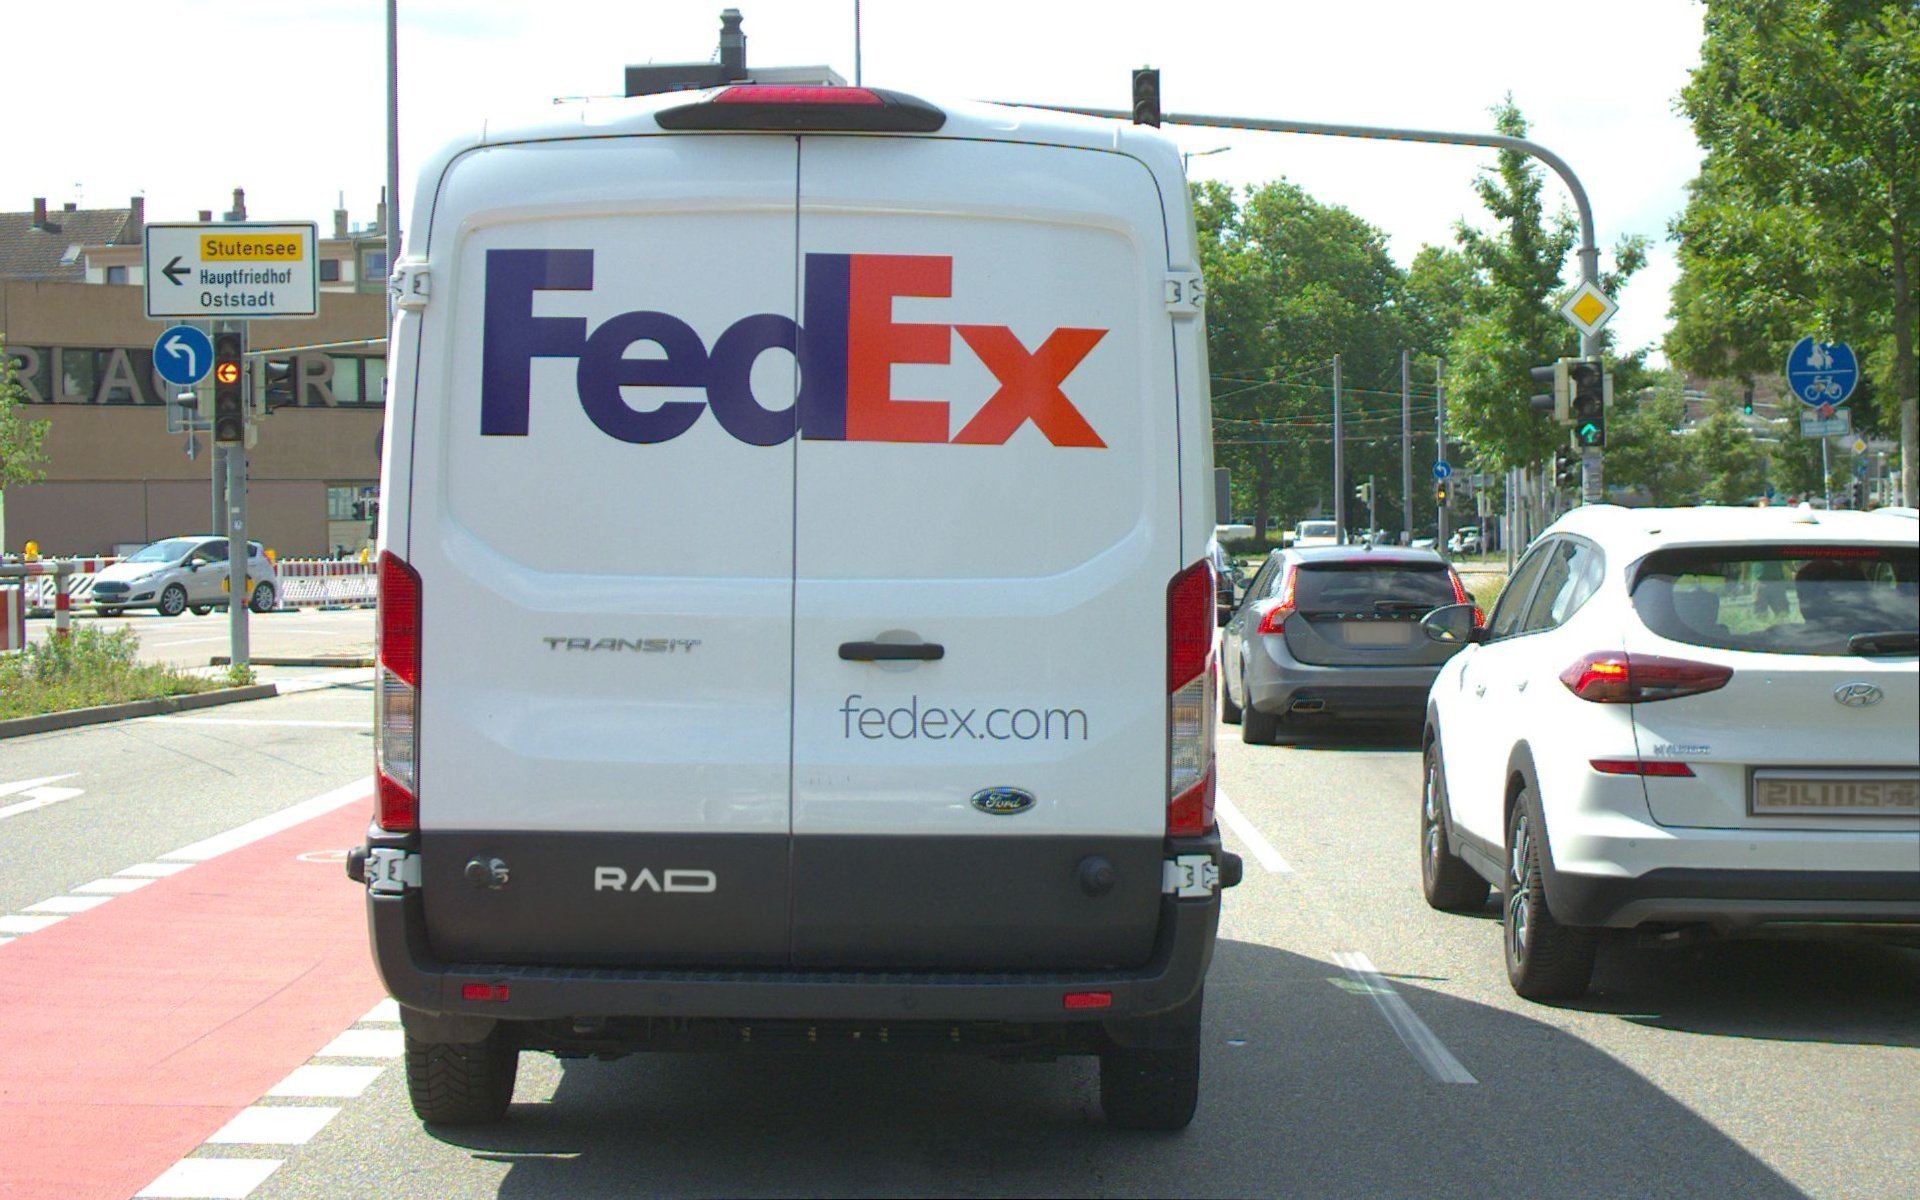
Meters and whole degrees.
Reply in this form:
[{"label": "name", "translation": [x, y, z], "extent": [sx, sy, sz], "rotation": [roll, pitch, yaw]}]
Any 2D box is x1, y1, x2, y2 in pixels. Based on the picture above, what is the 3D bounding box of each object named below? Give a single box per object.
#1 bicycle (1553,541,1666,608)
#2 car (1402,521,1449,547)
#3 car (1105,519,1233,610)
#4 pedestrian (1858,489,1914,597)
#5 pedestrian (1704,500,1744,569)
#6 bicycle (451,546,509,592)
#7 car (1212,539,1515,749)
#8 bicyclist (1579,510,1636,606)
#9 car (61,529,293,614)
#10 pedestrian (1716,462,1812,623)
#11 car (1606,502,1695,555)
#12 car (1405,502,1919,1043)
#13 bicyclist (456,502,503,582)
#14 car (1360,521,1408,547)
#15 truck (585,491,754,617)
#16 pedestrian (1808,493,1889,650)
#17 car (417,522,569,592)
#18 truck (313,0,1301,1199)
[{"label": "bicycle", "translation": [11.106, -0.426, 58.823], "extent": [1.810, 1.046, 0.591], "rotation": [-3, 0, 7]}, {"label": "car", "translation": [29.101, -4.117, 214.820], "extent": [1.996, 1.568, 4.173], "rotation": [1, 1, 21]}, {"label": "car", "translation": [3.646, -0.639, 59.404], "extent": [1.882, 1.501, 4.154], "rotation": [1, 2, 8]}, {"label": "pedestrian", "translation": [15.162, -0.937, 56.278], "extent": [0.750, 1.746, 0.609], "rotation": [-2, 1, 7]}, {"label": "pedestrian", "translation": [17.672, -1.514, 79.510], "extent": [0.756, 1.584, 0.761], "rotation": [1, 0, 2]}, {"label": "bicycle", "translation": [-9.731, -0.631, 69.795], "extent": [0.776, 0.886, 2.108], "rotation": [-1, 1, 3]}, {"label": "car", "translation": [2.957, 0.272, 25.942], "extent": [1.915, 1.415, 3.918], "rotation": [-1, 1, 1]}, {"label": "bicyclist", "translation": [11.075, -0.710, 58.827], "extent": [0.828, 1.596, 0.579], "rotation": [-3, 0, 7]}, {"label": "car", "translation": [-14.448, -0.518, 63.609], "extent": [1.997, 1.503, 4.010], "rotation": [1, 1, 30]}, {"label": "pedestrian", "translation": [9.051, -0.653, 38.739], "extent": [0.749, 1.771, 0.882], "rotation": [-2, 1, -6]}, {"label": "car", "translation": [21.721, -2.254, 108.015], "extent": [1.883, 1.635, 3.952], "rotation": [0, 2, 25]}, {"label": "car", "translation": [2.792, 0.469, 12.549], "extent": [1.881, 1.635, 4.233], "rotation": [-1, 1, 1]}, {"label": "bicyclist", "translation": [-9.744, -1.178, 69.715], "extent": [0.776, 1.613, 0.843], "rotation": [-1, 1, 3]}, {"label": "car", "translation": [26.629, -4.161, 215.830], "extent": [1.996, 1.568, 4.173], "rotation": [1, 1, 21]}, {"label": "truck", "translation": [-7.333, -1.154, 87.766], "extent": [1.995, 3.057, 7.325], "rotation": [1, 1, 14]}, {"label": "pedestrian", "translation": [10.069, -0.330, 38.972], "extent": [0.666, 1.740, 0.609], "rotation": [-2, 1, -6]}, {"label": "car", "translation": [-10.472, -0.981, 77.302], "extent": [1.995, 1.481, 3.903], "rotation": [0, 1, 15]}, {"label": "truck", "translation": [-0.369, -0.035, 10.481], "extent": [2.137, 2.631, 5.918], "rotation": [1, 1, -1]}]
